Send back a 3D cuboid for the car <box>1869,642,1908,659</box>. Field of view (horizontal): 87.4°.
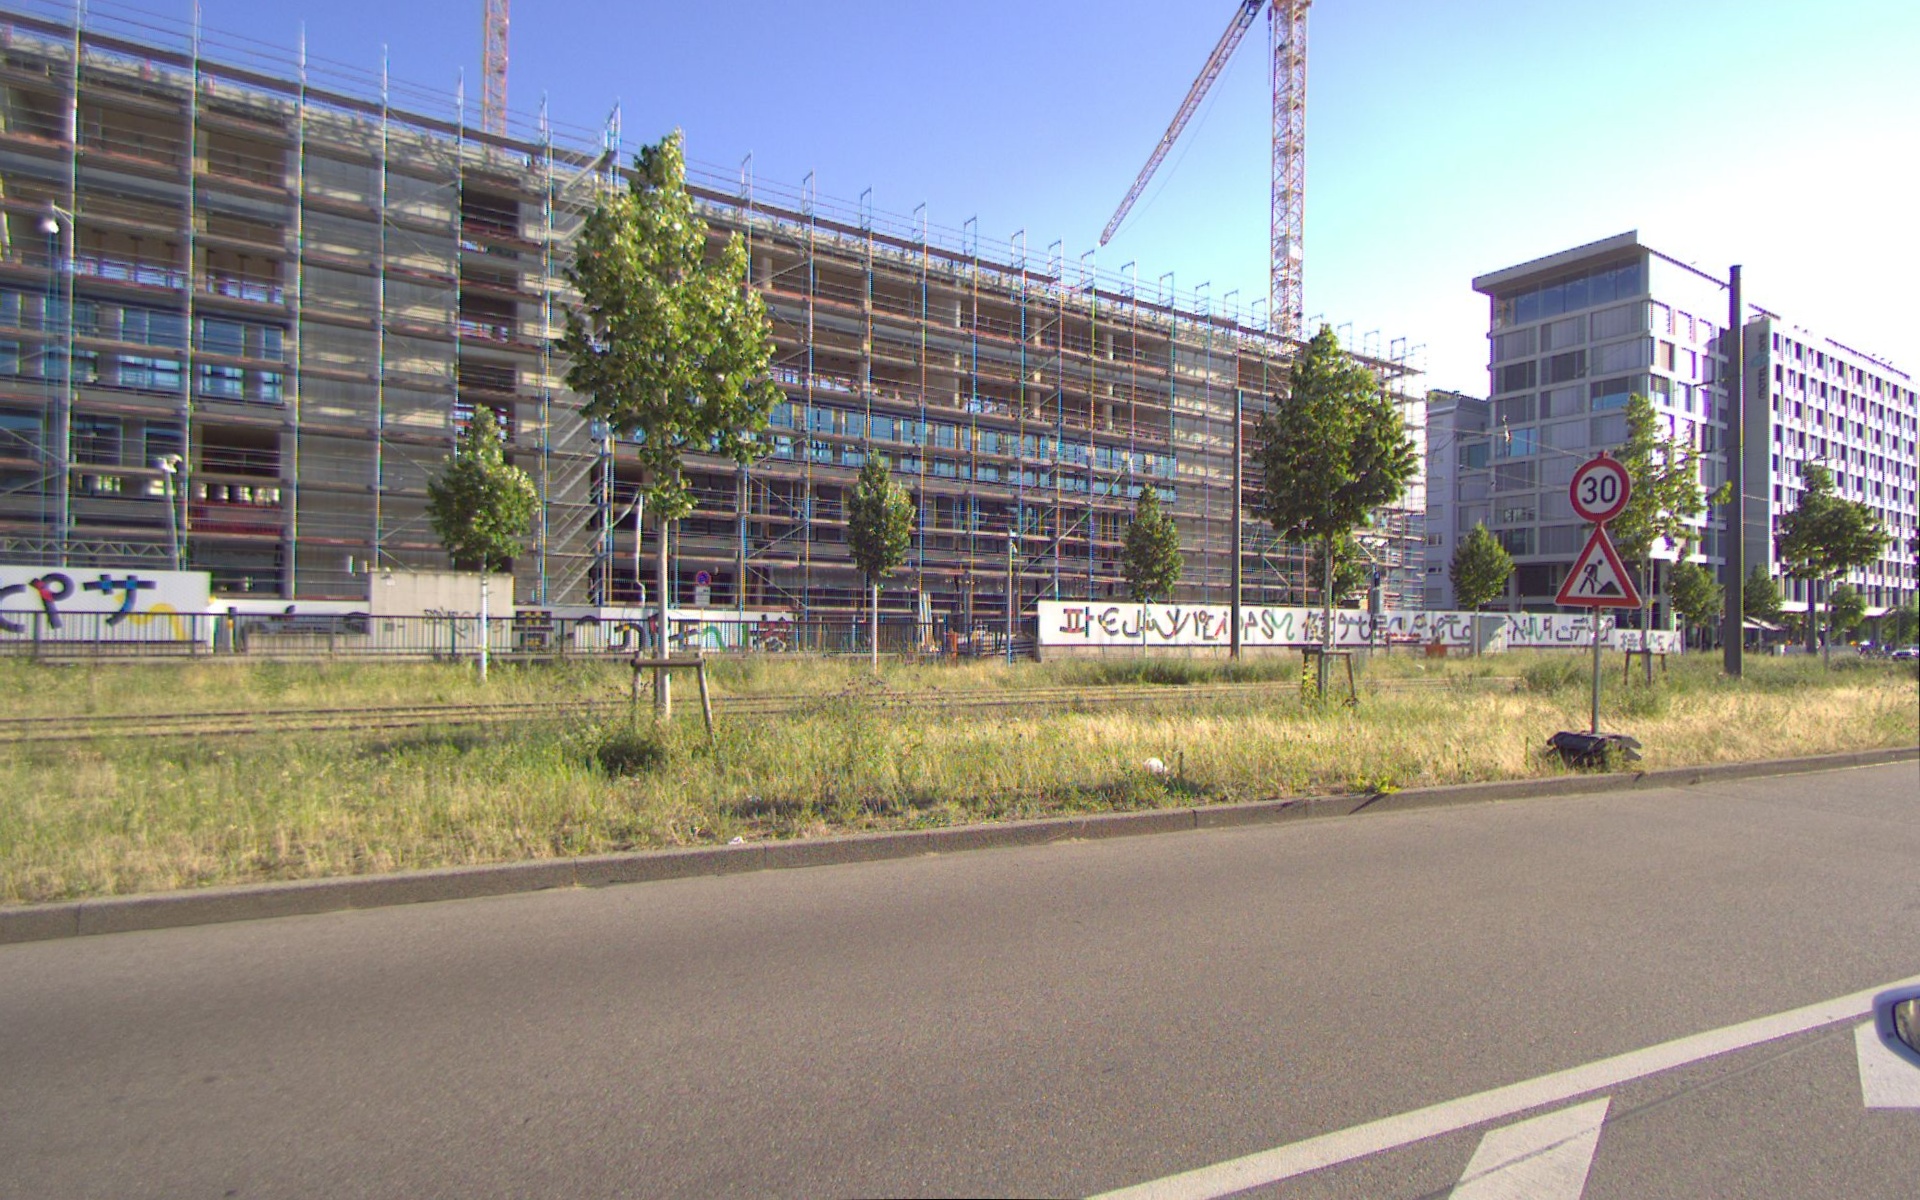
[{"bbox_3d":[84.024,4.583,90.882,3.543,1.461,1.699,2,0,-32],"label":"car"}]

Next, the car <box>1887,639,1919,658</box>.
[{"bbox_3d":[77.055,3.938,81.640,3.543,1.461,1.699,2,0,-32],"label":"car"}]

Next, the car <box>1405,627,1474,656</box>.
[{"bbox_3d":[25.948,2.248,54.338,3.543,1.461,1.699,2,0,-32],"label":"car"}]
